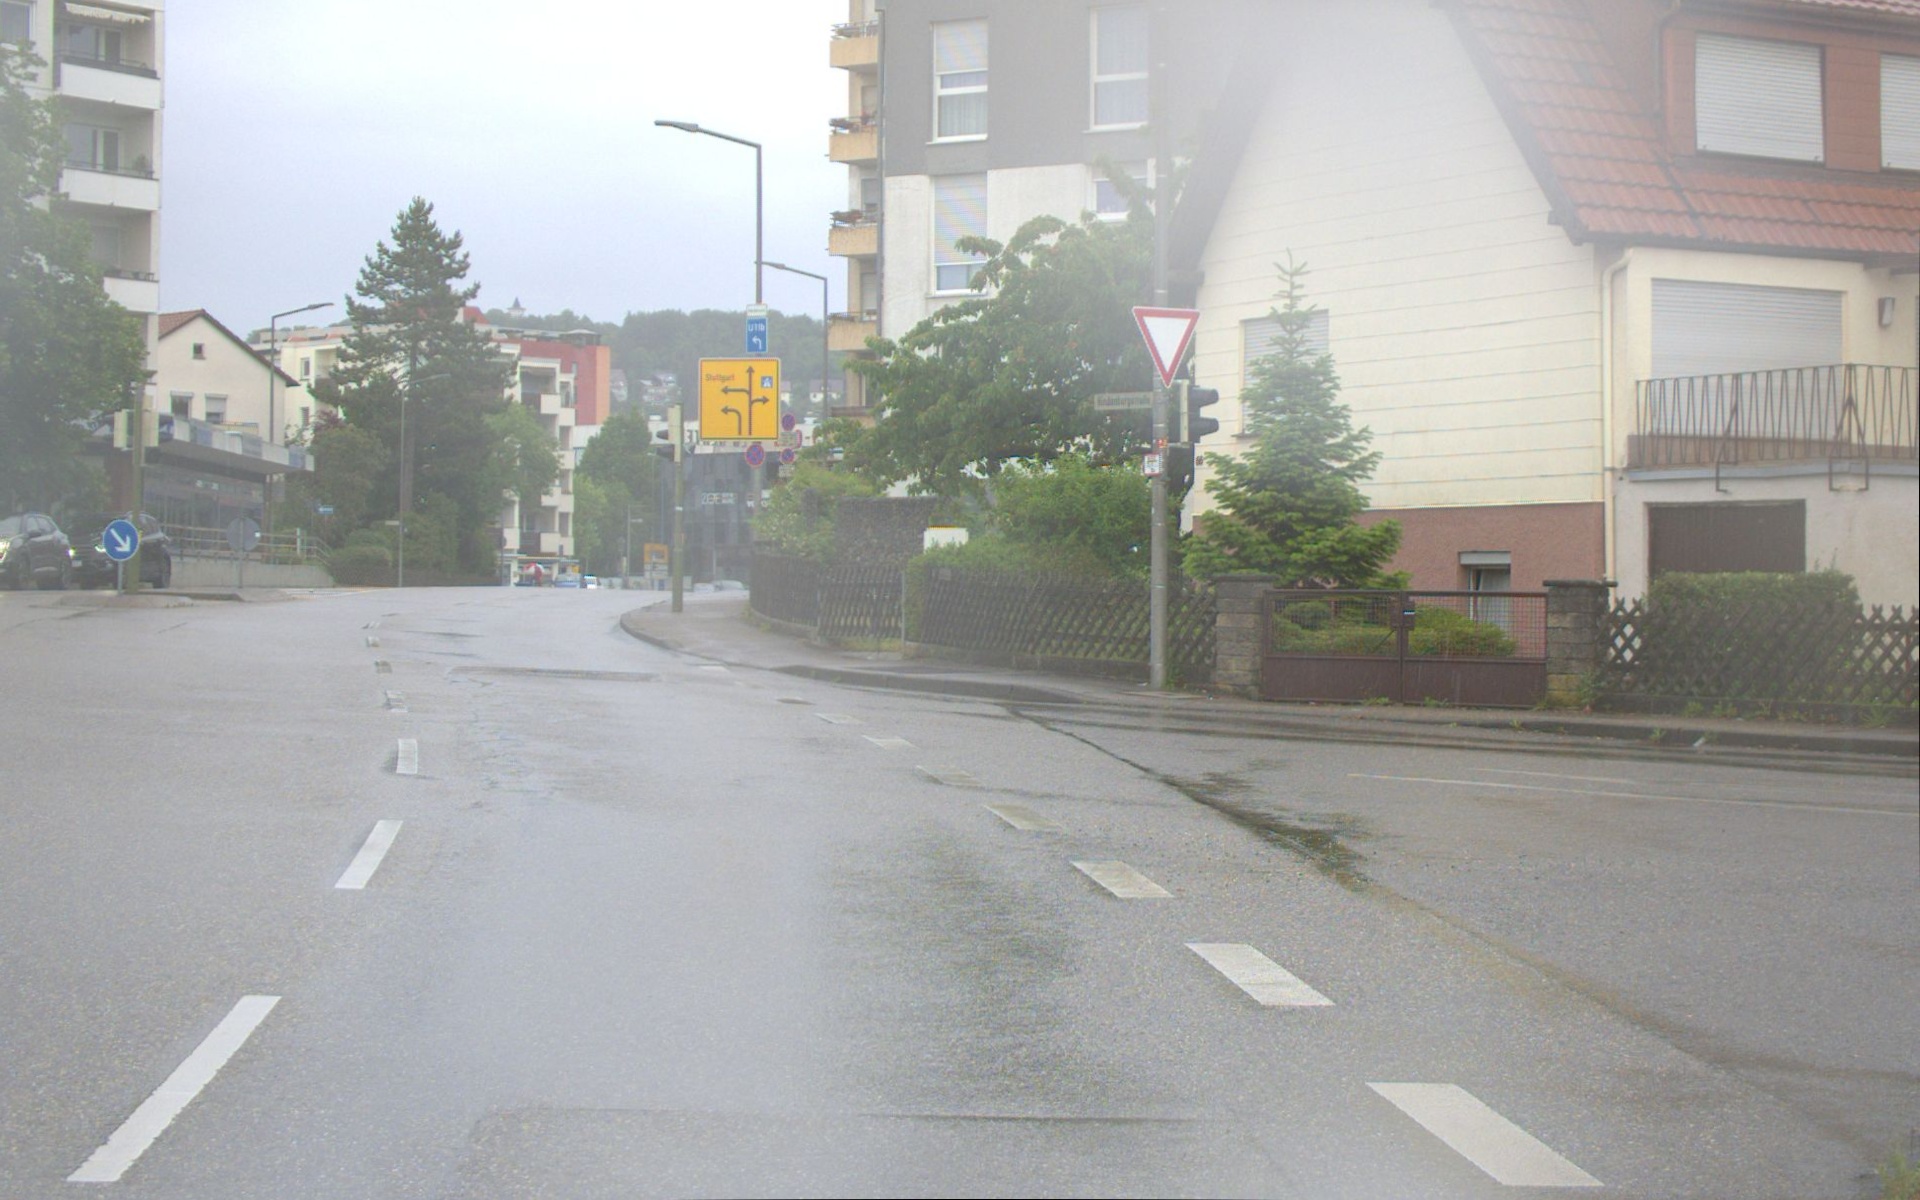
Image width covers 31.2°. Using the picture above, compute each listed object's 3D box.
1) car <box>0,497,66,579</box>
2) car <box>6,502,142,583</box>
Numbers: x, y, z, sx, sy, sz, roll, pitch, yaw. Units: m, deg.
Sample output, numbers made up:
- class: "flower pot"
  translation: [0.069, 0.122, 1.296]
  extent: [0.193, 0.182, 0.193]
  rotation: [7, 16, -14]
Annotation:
- class: "car"
  translation: [-18.359, -1.169, 65.034]
  extent: [1.967, 1.507, 4.000]
  rotation: [1, 1, -2]
- class: "car"
  translation: [-18.319, -1.175, 71.252]
  extent: [1.879, 1.592, 4.185]
  rotation: [1, 1, -2]
